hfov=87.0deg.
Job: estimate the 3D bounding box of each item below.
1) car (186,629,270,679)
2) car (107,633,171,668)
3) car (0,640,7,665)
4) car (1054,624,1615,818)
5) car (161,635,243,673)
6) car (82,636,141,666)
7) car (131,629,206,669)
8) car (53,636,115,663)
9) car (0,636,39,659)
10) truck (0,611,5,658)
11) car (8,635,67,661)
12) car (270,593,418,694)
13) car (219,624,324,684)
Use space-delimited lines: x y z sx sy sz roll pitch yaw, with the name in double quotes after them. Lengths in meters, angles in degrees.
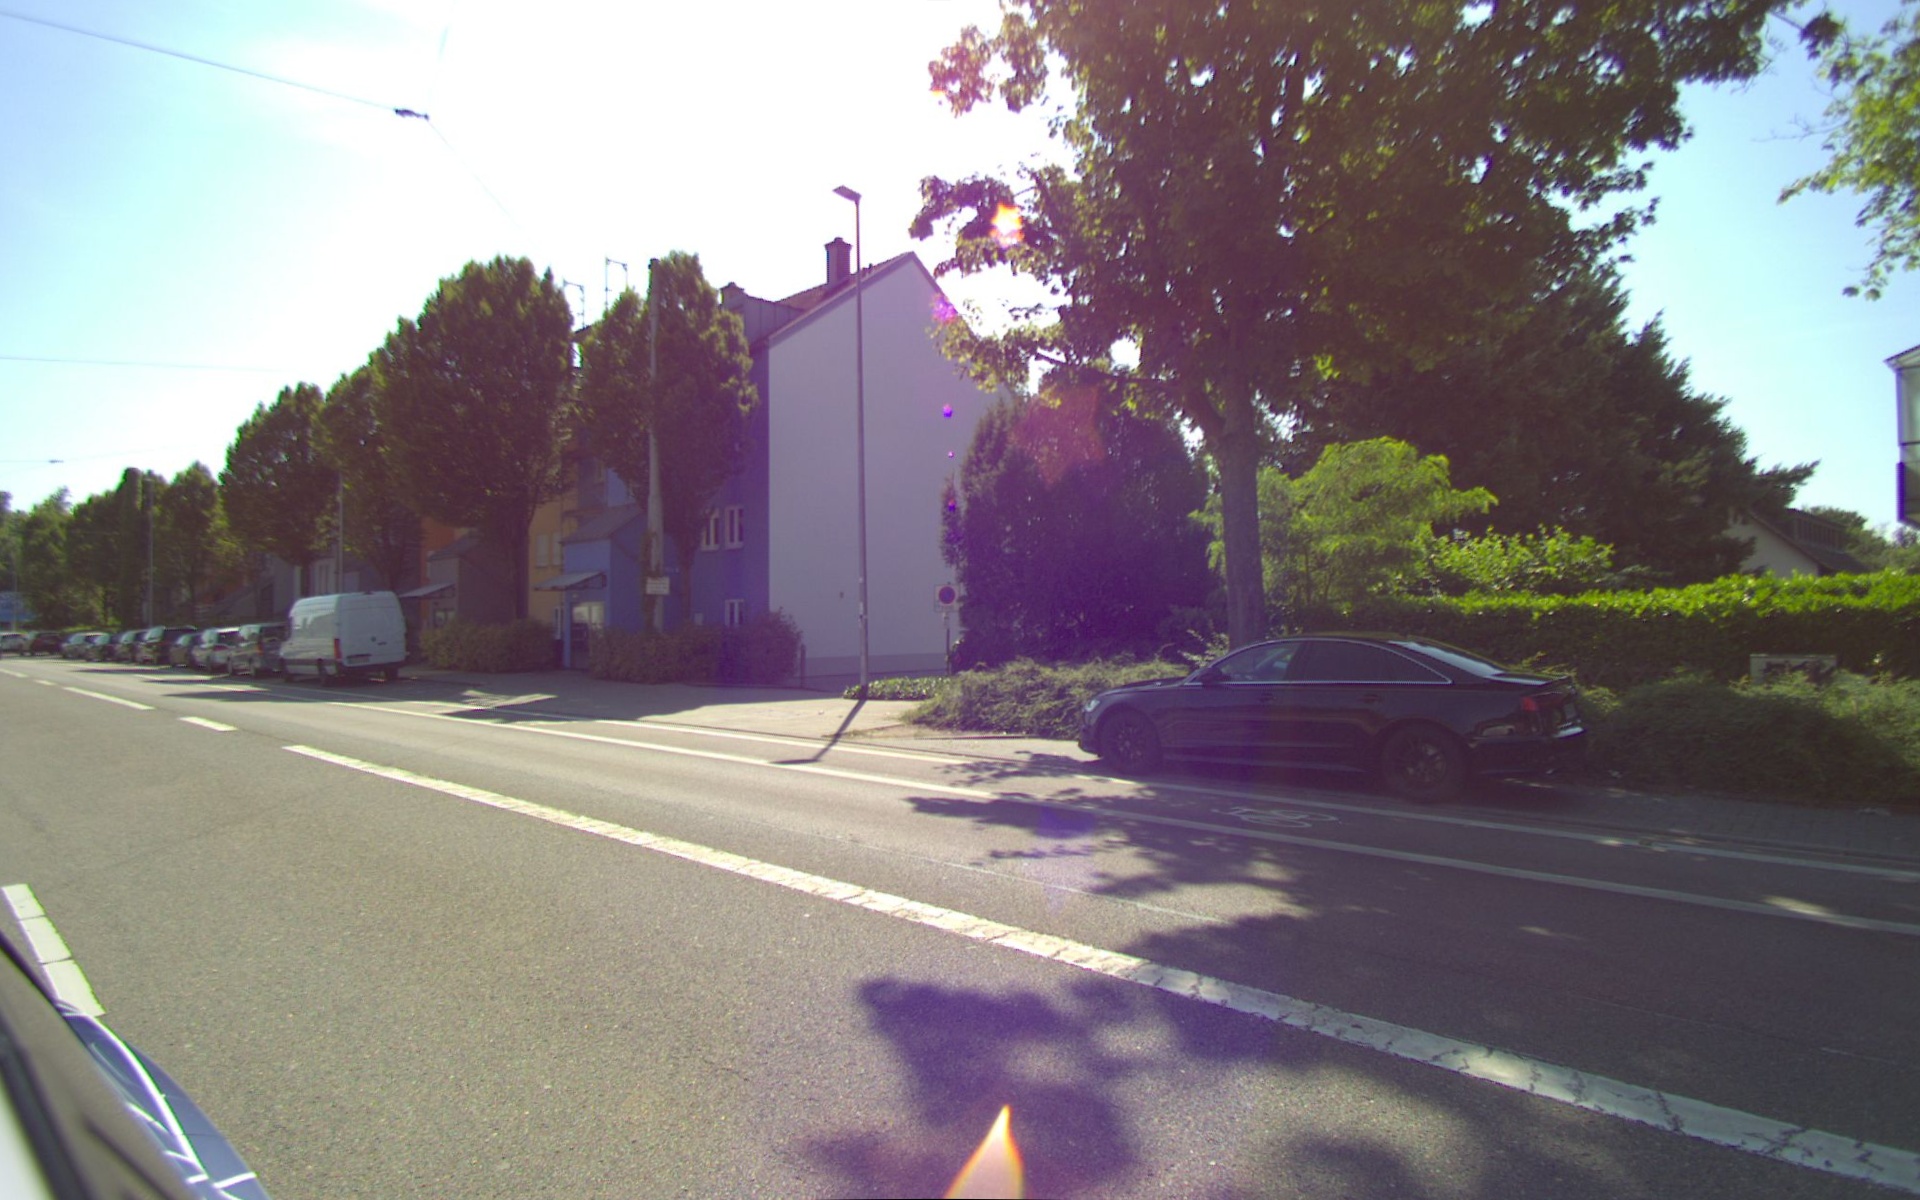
-29.112 2.089 40.186 4.541 1.715 1.828 -1 2 43 "car"
-41.062 2.514 50.612 4.161 1.619 1.660 -1 0 39 "car"
-50.784 2.719 52.473 4.064 1.254 1.669 -2 -3 43 "car"
3.482 1.006 10.064 4.905 1.477 1.821 -2 -2 39 "car"
-32.984 2.315 44.001 4.071 1.466 1.848 -1 2 39 "car"
-45.608 2.714 54.390 4.209 1.481 1.660 -1 0 39 "car"
-37.016 2.251 47.274 4.345 1.741 1.812 -1 0 39 "car"
-50.795 2.832 58.643 4.828 1.457 1.662 -1 0 36 "car"
-66.192 3.300 70.661 4.125 1.510 2.016 -1 0 36 "car"
-76.307 2.670 77.480 8.767 3.581 3.127 -2 -2 36 "truck"
-59.751 3.089 65.536 4.922 1.588 1.888 -1 0 36 "car"
-18.992 1.284 30.988 7.087 2.697 1.972 -2 1 44 "car"
-24.943 1.909 36.580 4.966 1.879 1.972 -2 2 43 "car"
